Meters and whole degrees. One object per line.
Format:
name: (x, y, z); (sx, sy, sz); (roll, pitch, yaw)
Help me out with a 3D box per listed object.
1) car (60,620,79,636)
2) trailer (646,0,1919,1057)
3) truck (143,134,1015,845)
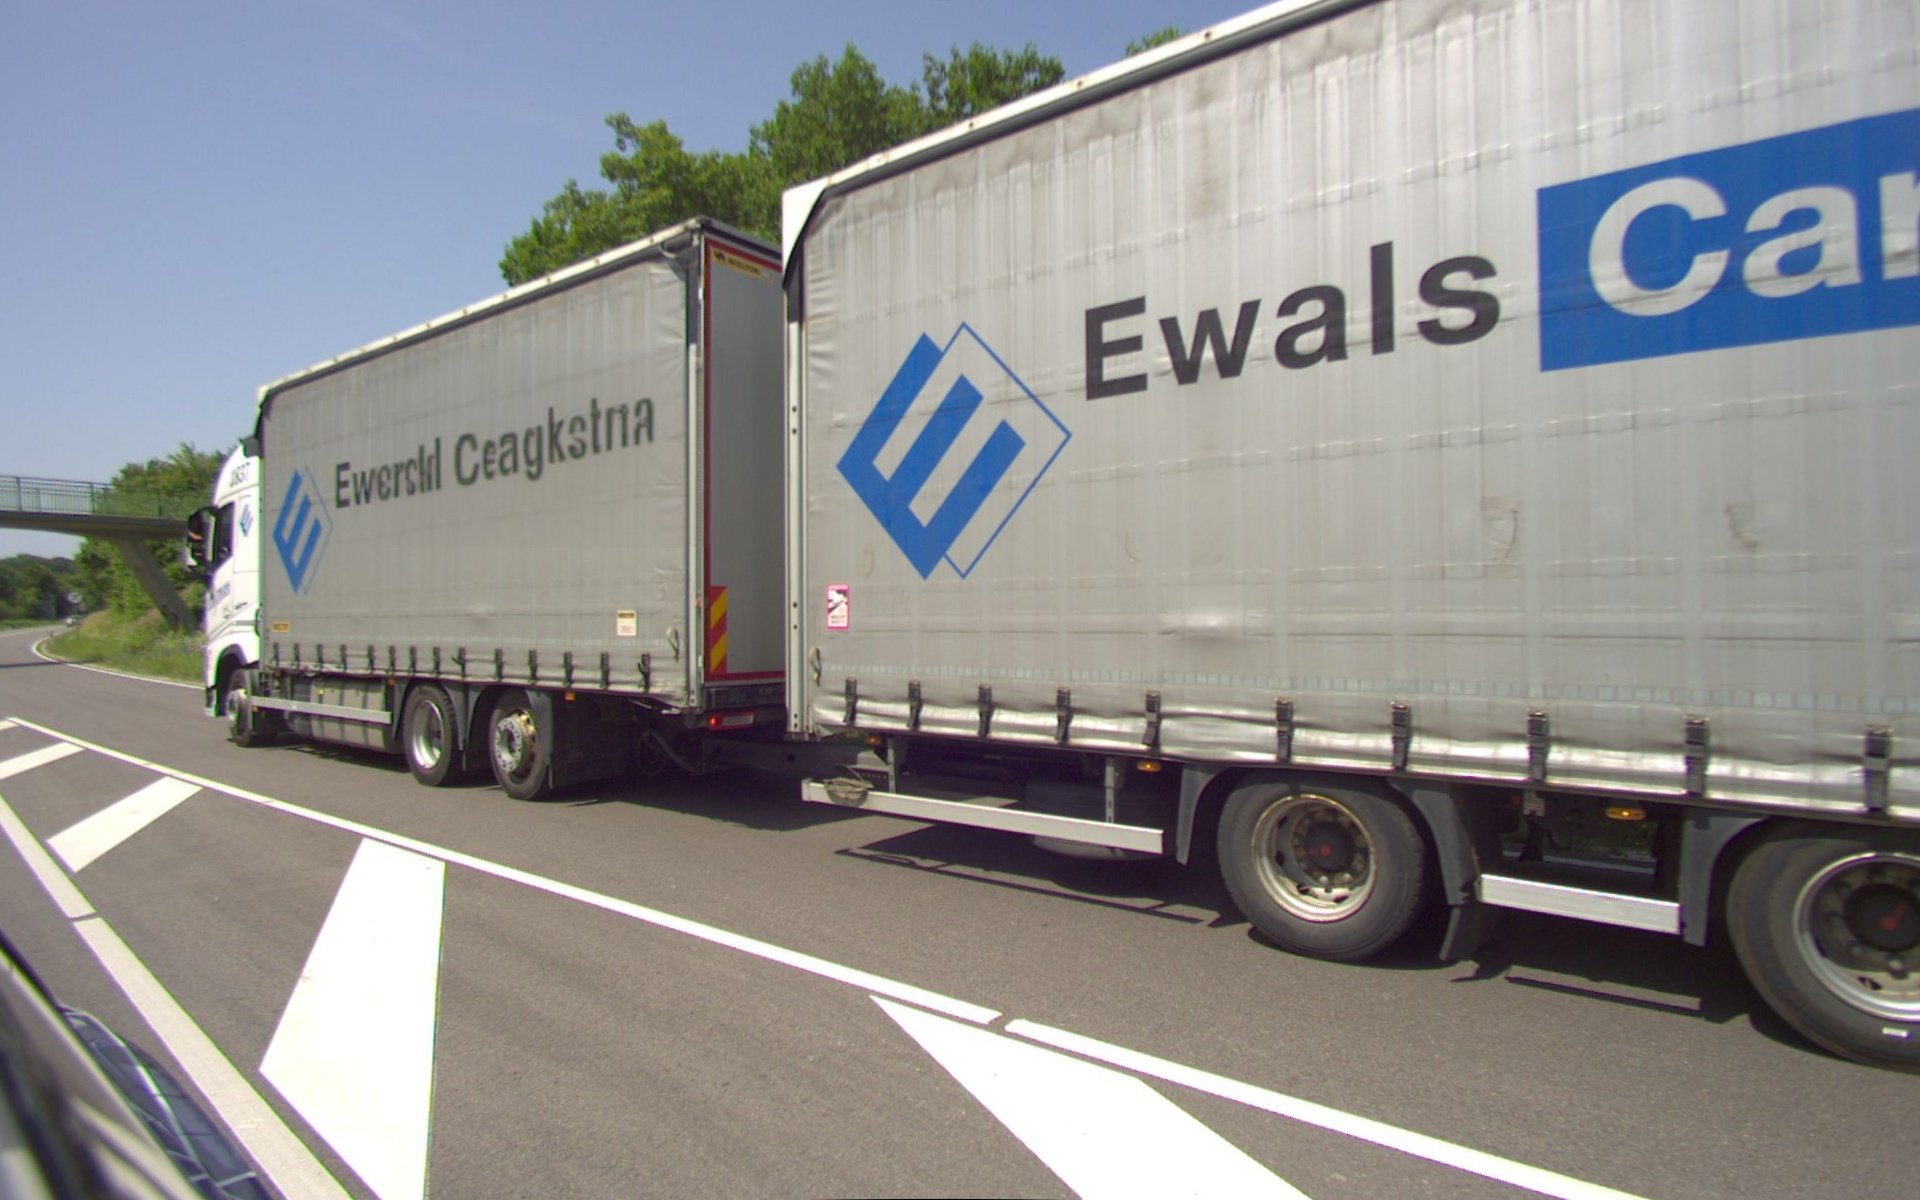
car: (-120.356, 3.737, 136.762); (1.946, 2.047, 5.406); (-1, 0, -42)
trailer: (2.499, -0.759, 4.779); (8.985, 4.126, 2.802); (-2, 0, 37)
truck: (-4.838, -0.535, 10.318); (11.043, 4.126, 2.772); (-2, 0, 37)
